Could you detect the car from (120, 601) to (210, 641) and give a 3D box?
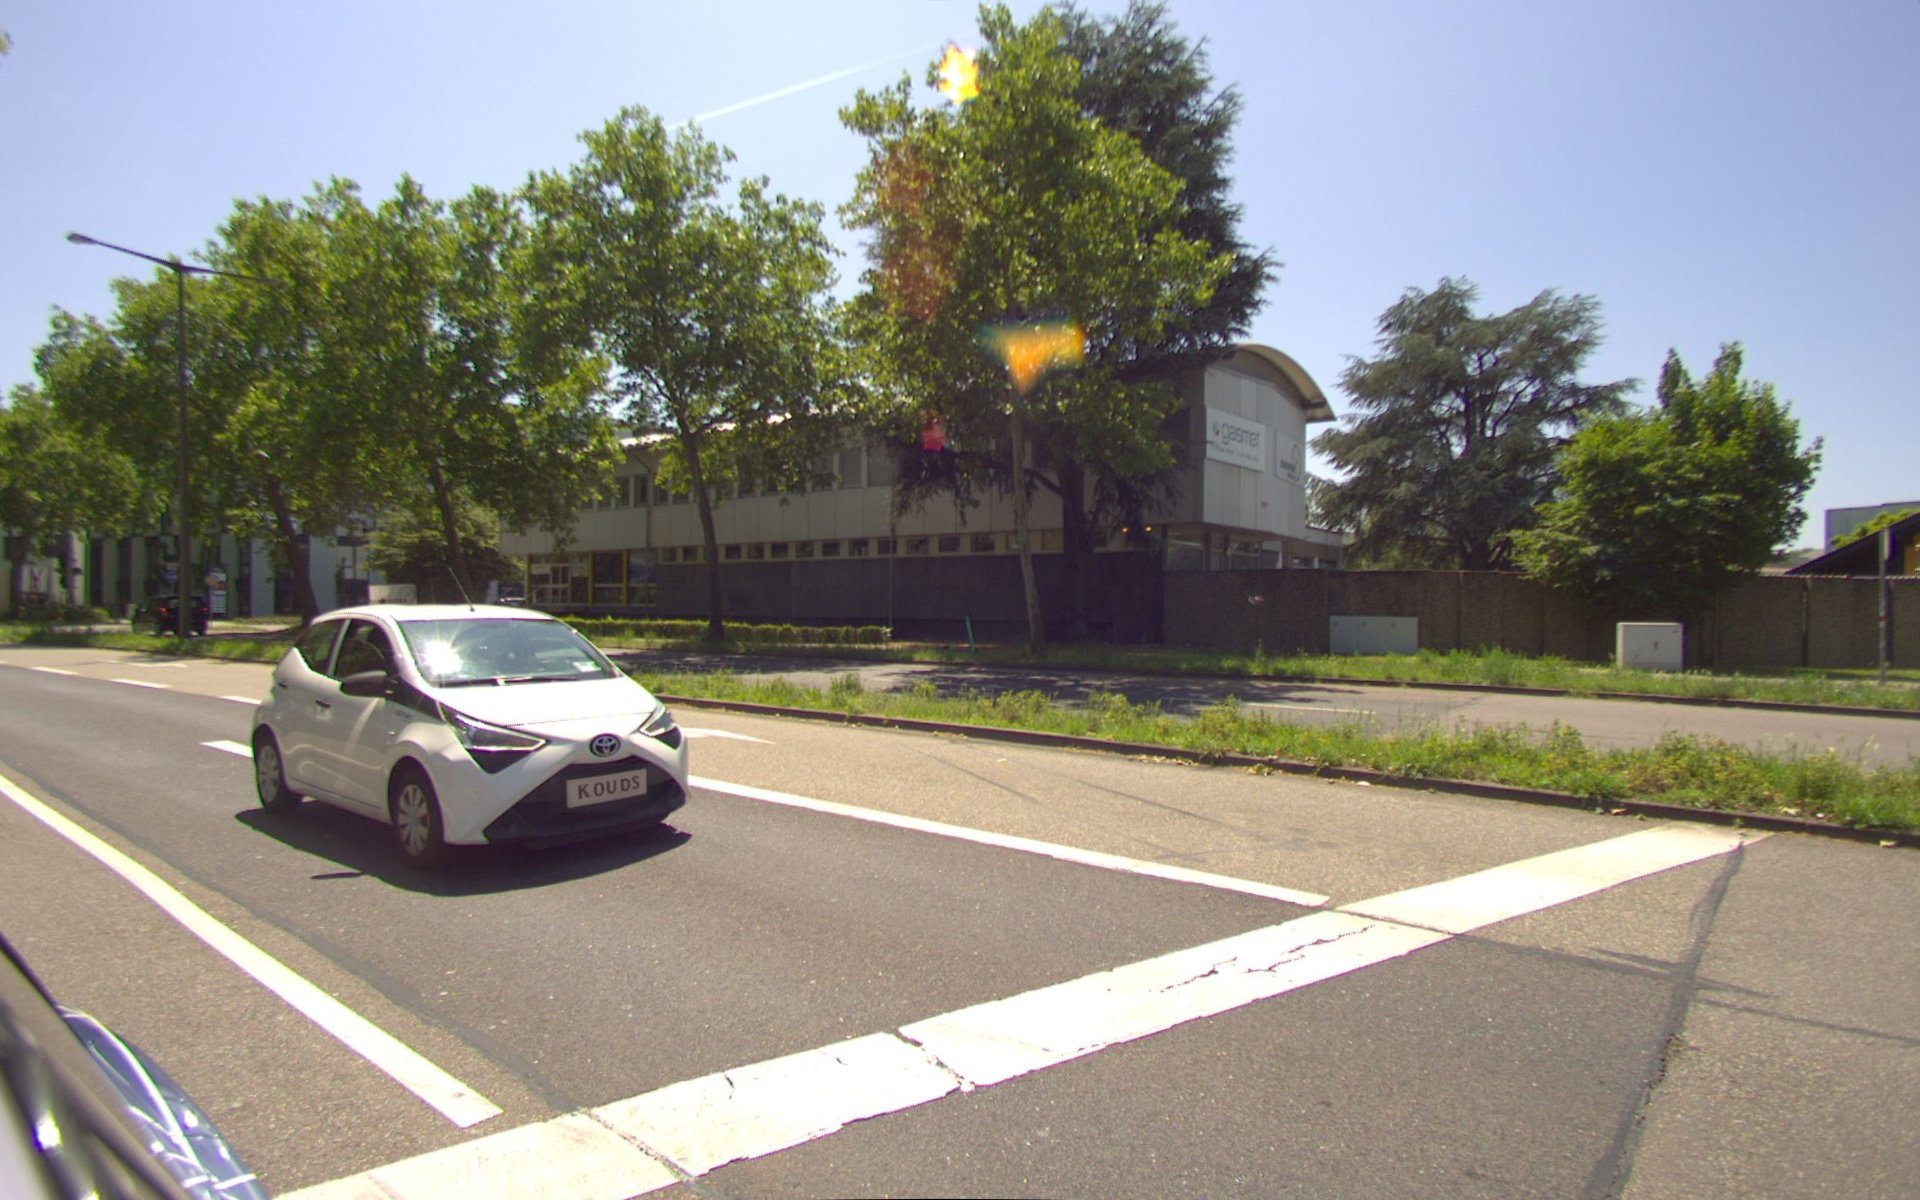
[{"bbox_3d":[-35.318,0.895,44.917,4.432,1.692,1.895,-1,-1,34],"label":"car"}]

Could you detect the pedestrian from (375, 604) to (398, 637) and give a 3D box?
[{"bbox_3d":[-26.987,0.958,47.629,0.788,1.572,0.637,0,-1,30],"label":"pedestrian"}]

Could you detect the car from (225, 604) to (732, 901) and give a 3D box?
[{"bbox_3d":[-3.323,0.765,6.730,3.647,1.456,1.603,0,-1,38],"label":"car"}]

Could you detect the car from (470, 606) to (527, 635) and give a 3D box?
[{"bbox_3d":[-28.200,1.200,61.847,3.524,1.659,1.797,0,1,40],"label":"car"}]

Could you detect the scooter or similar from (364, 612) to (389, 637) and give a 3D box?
[{"bbox_3d":[-27.707,1.157,48.064,0.856,1.172,0.673,-1,-1,31],"label":"scooter or similar"}]
